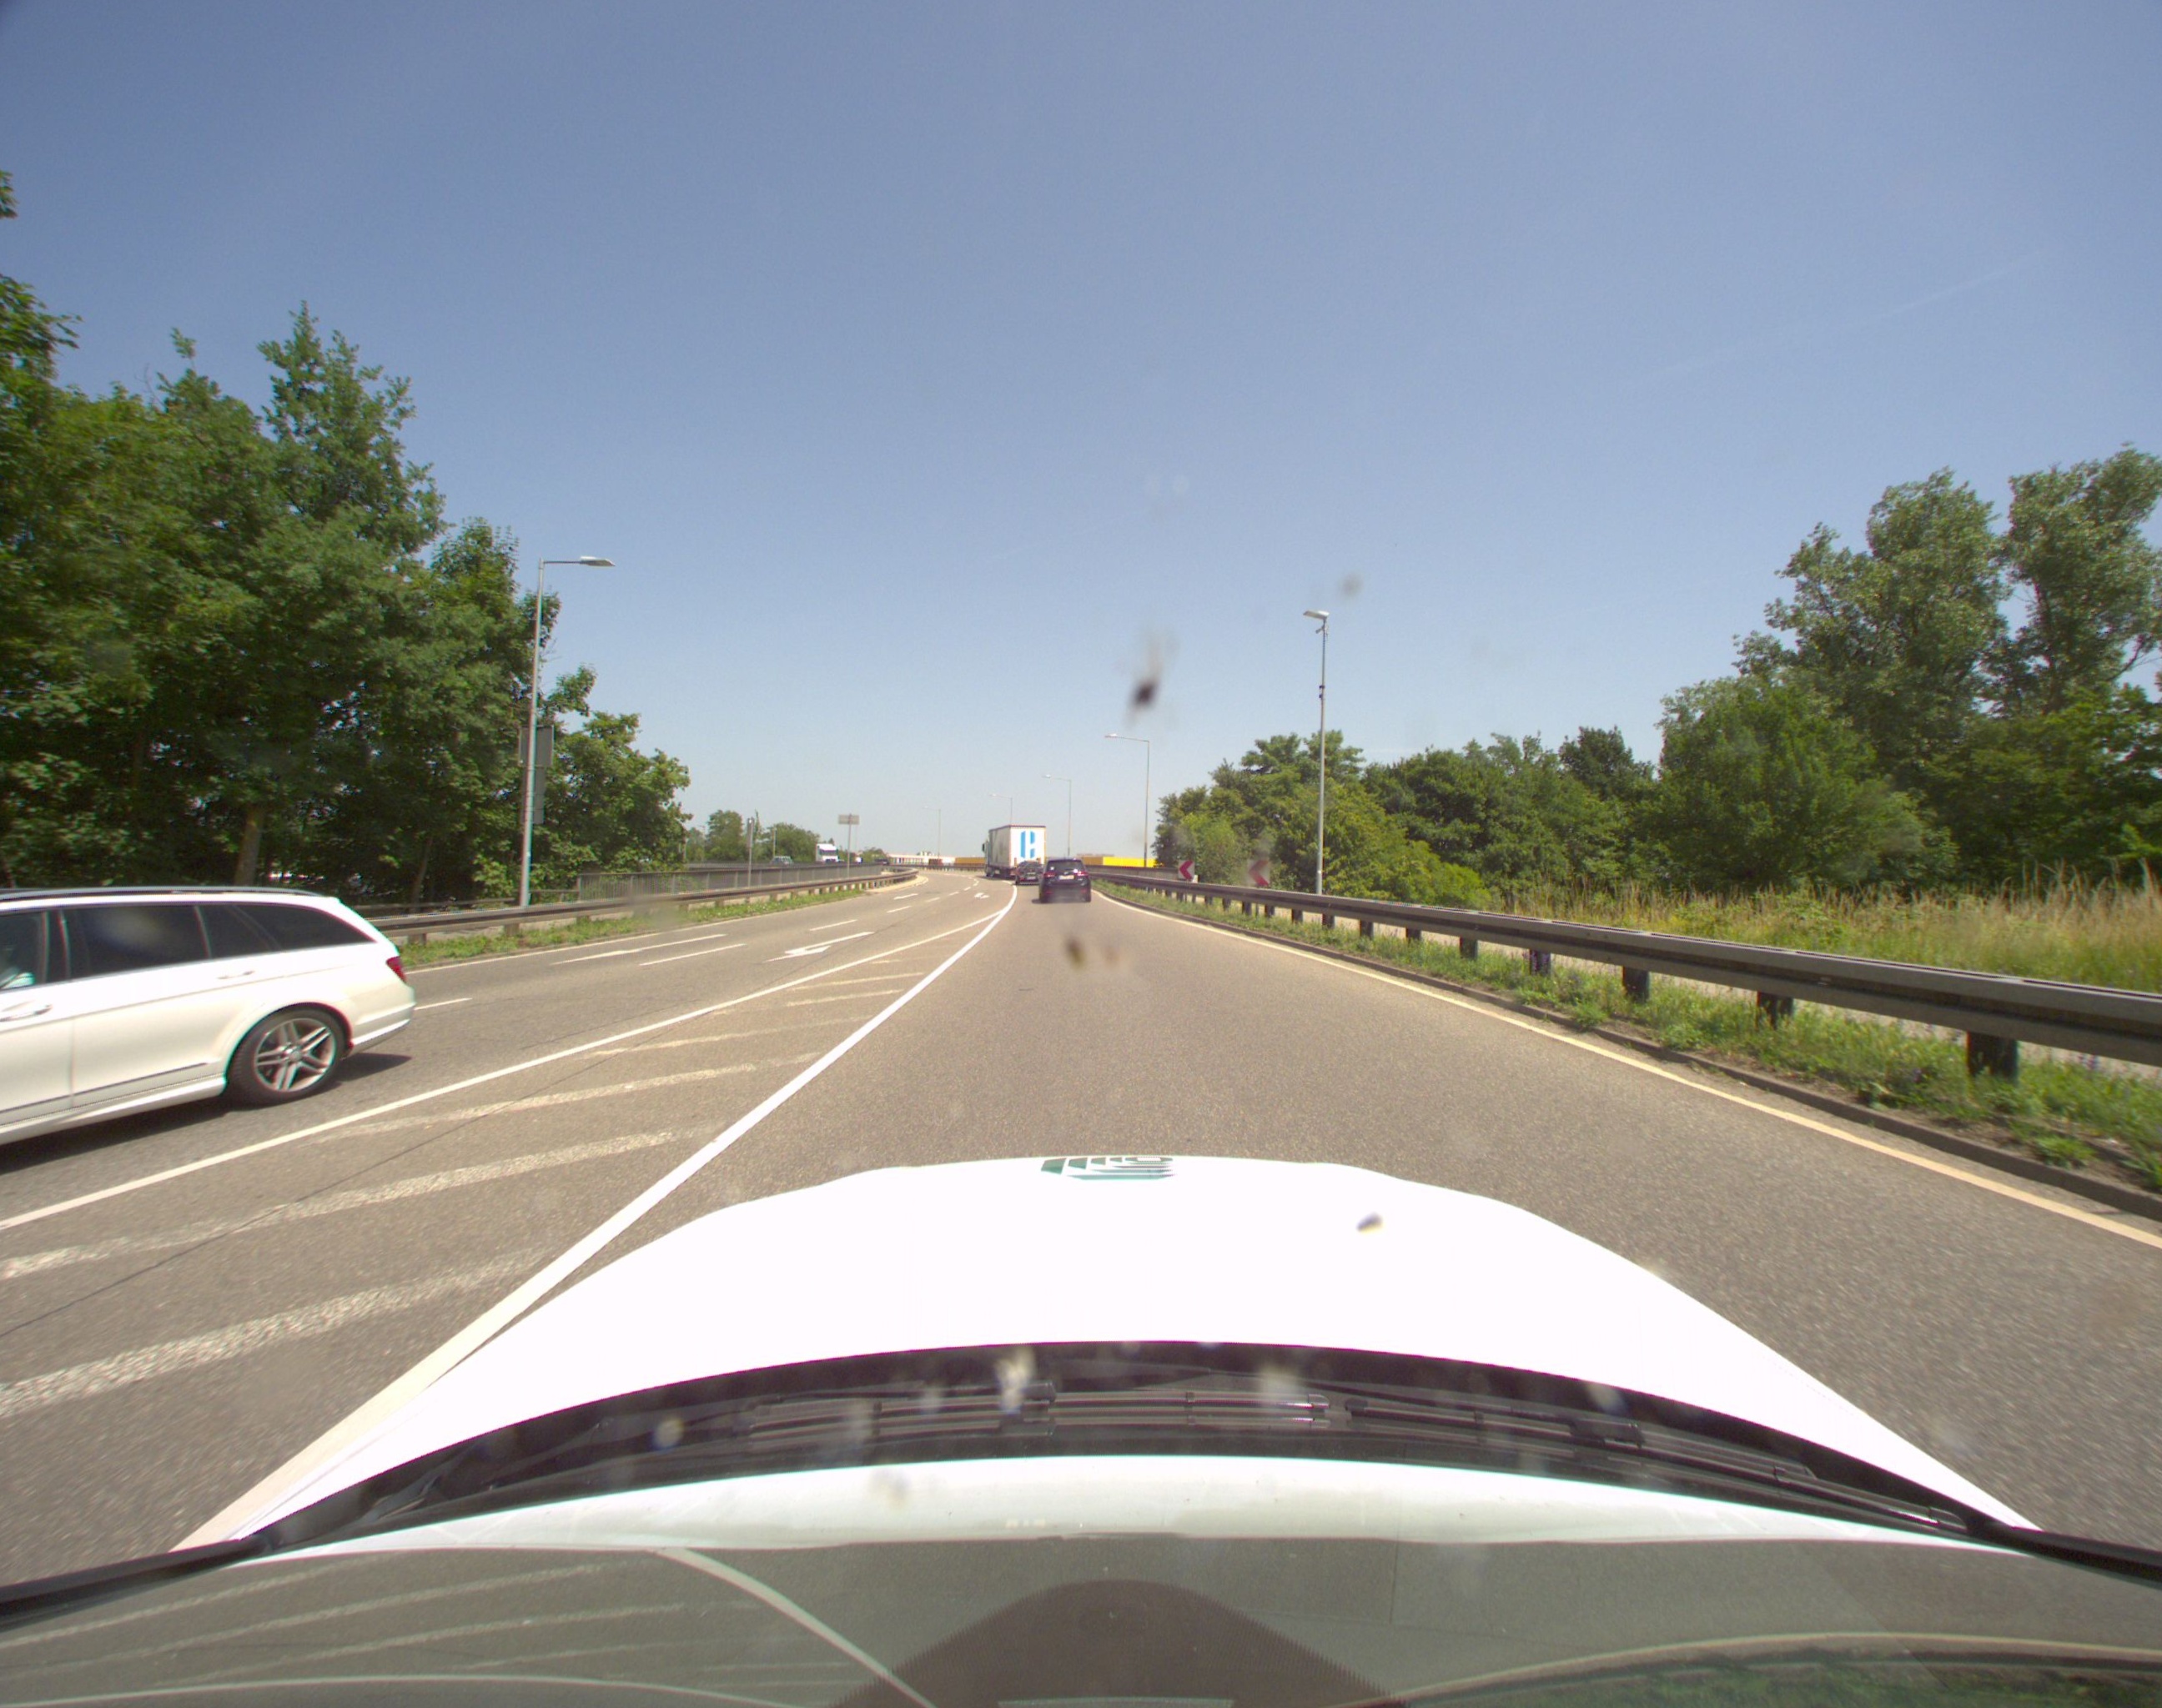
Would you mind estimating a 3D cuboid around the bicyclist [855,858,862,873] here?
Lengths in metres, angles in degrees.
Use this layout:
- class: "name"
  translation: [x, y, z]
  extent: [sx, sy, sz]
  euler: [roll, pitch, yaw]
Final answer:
- class: "bicyclist"
  translation: [-27.588, 1.386, 100.971]
  extent: [0.628, 1.886, 0.705]
  euler: [1, -1, -30]

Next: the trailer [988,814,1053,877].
- class: "trailer"
  translation: [-4.934, -0.556, 63.384]
  extent: [3.572, 4.384, 11.395]
  euler: [1, 0, -11]

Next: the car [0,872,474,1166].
- class: "car"
  translation: [-6.207, 0.856, 4.302]
  extent: [1.817, 1.406, 4.900]
  euler: [-2, -1, 9]

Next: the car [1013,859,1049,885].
- class: "car"
  translation: [-2.957, 1.047, 47.757]
  extent: [2.008, 1.429, 3.770]
  euler: [1, 0, -5]

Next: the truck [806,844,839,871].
- class: "truck"
  translation: [-40.057, 0.507, 126.074]
  extent: [2.728, 3.991, 6.114]
  euler: [2, -1, -40]

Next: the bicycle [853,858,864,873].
- class: "bicycle"
  translation: [-27.639, 1.375, 101.056]
  extent: [0.702, 1.801, 2.160]
  euler: [1, -1, -30]

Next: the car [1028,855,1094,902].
- class: "car"
  translation: [-0.787, 0.830, 29.522]
  extent: [1.920, 1.574, 3.880]
  euler: [1, 0, -8]

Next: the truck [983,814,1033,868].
- class: "truck"
  translation: [-6.459, -1.050, 70.811]
  extent: [3.575, 4.441, 6.489]
  euler: [1, 0, -12]

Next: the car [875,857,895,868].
- class: "car"
  translation: [-28.314, 1.218, 117.592]
  extent: [1.852, 1.508, 3.599]
  euler: [1, 0, -31]

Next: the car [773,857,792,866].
- class: "car"
  translation: [-49.696, 1.227, 135.582]
  extent: [3.570, 1.386, 1.573]
  euler: [1, -1, 44]
